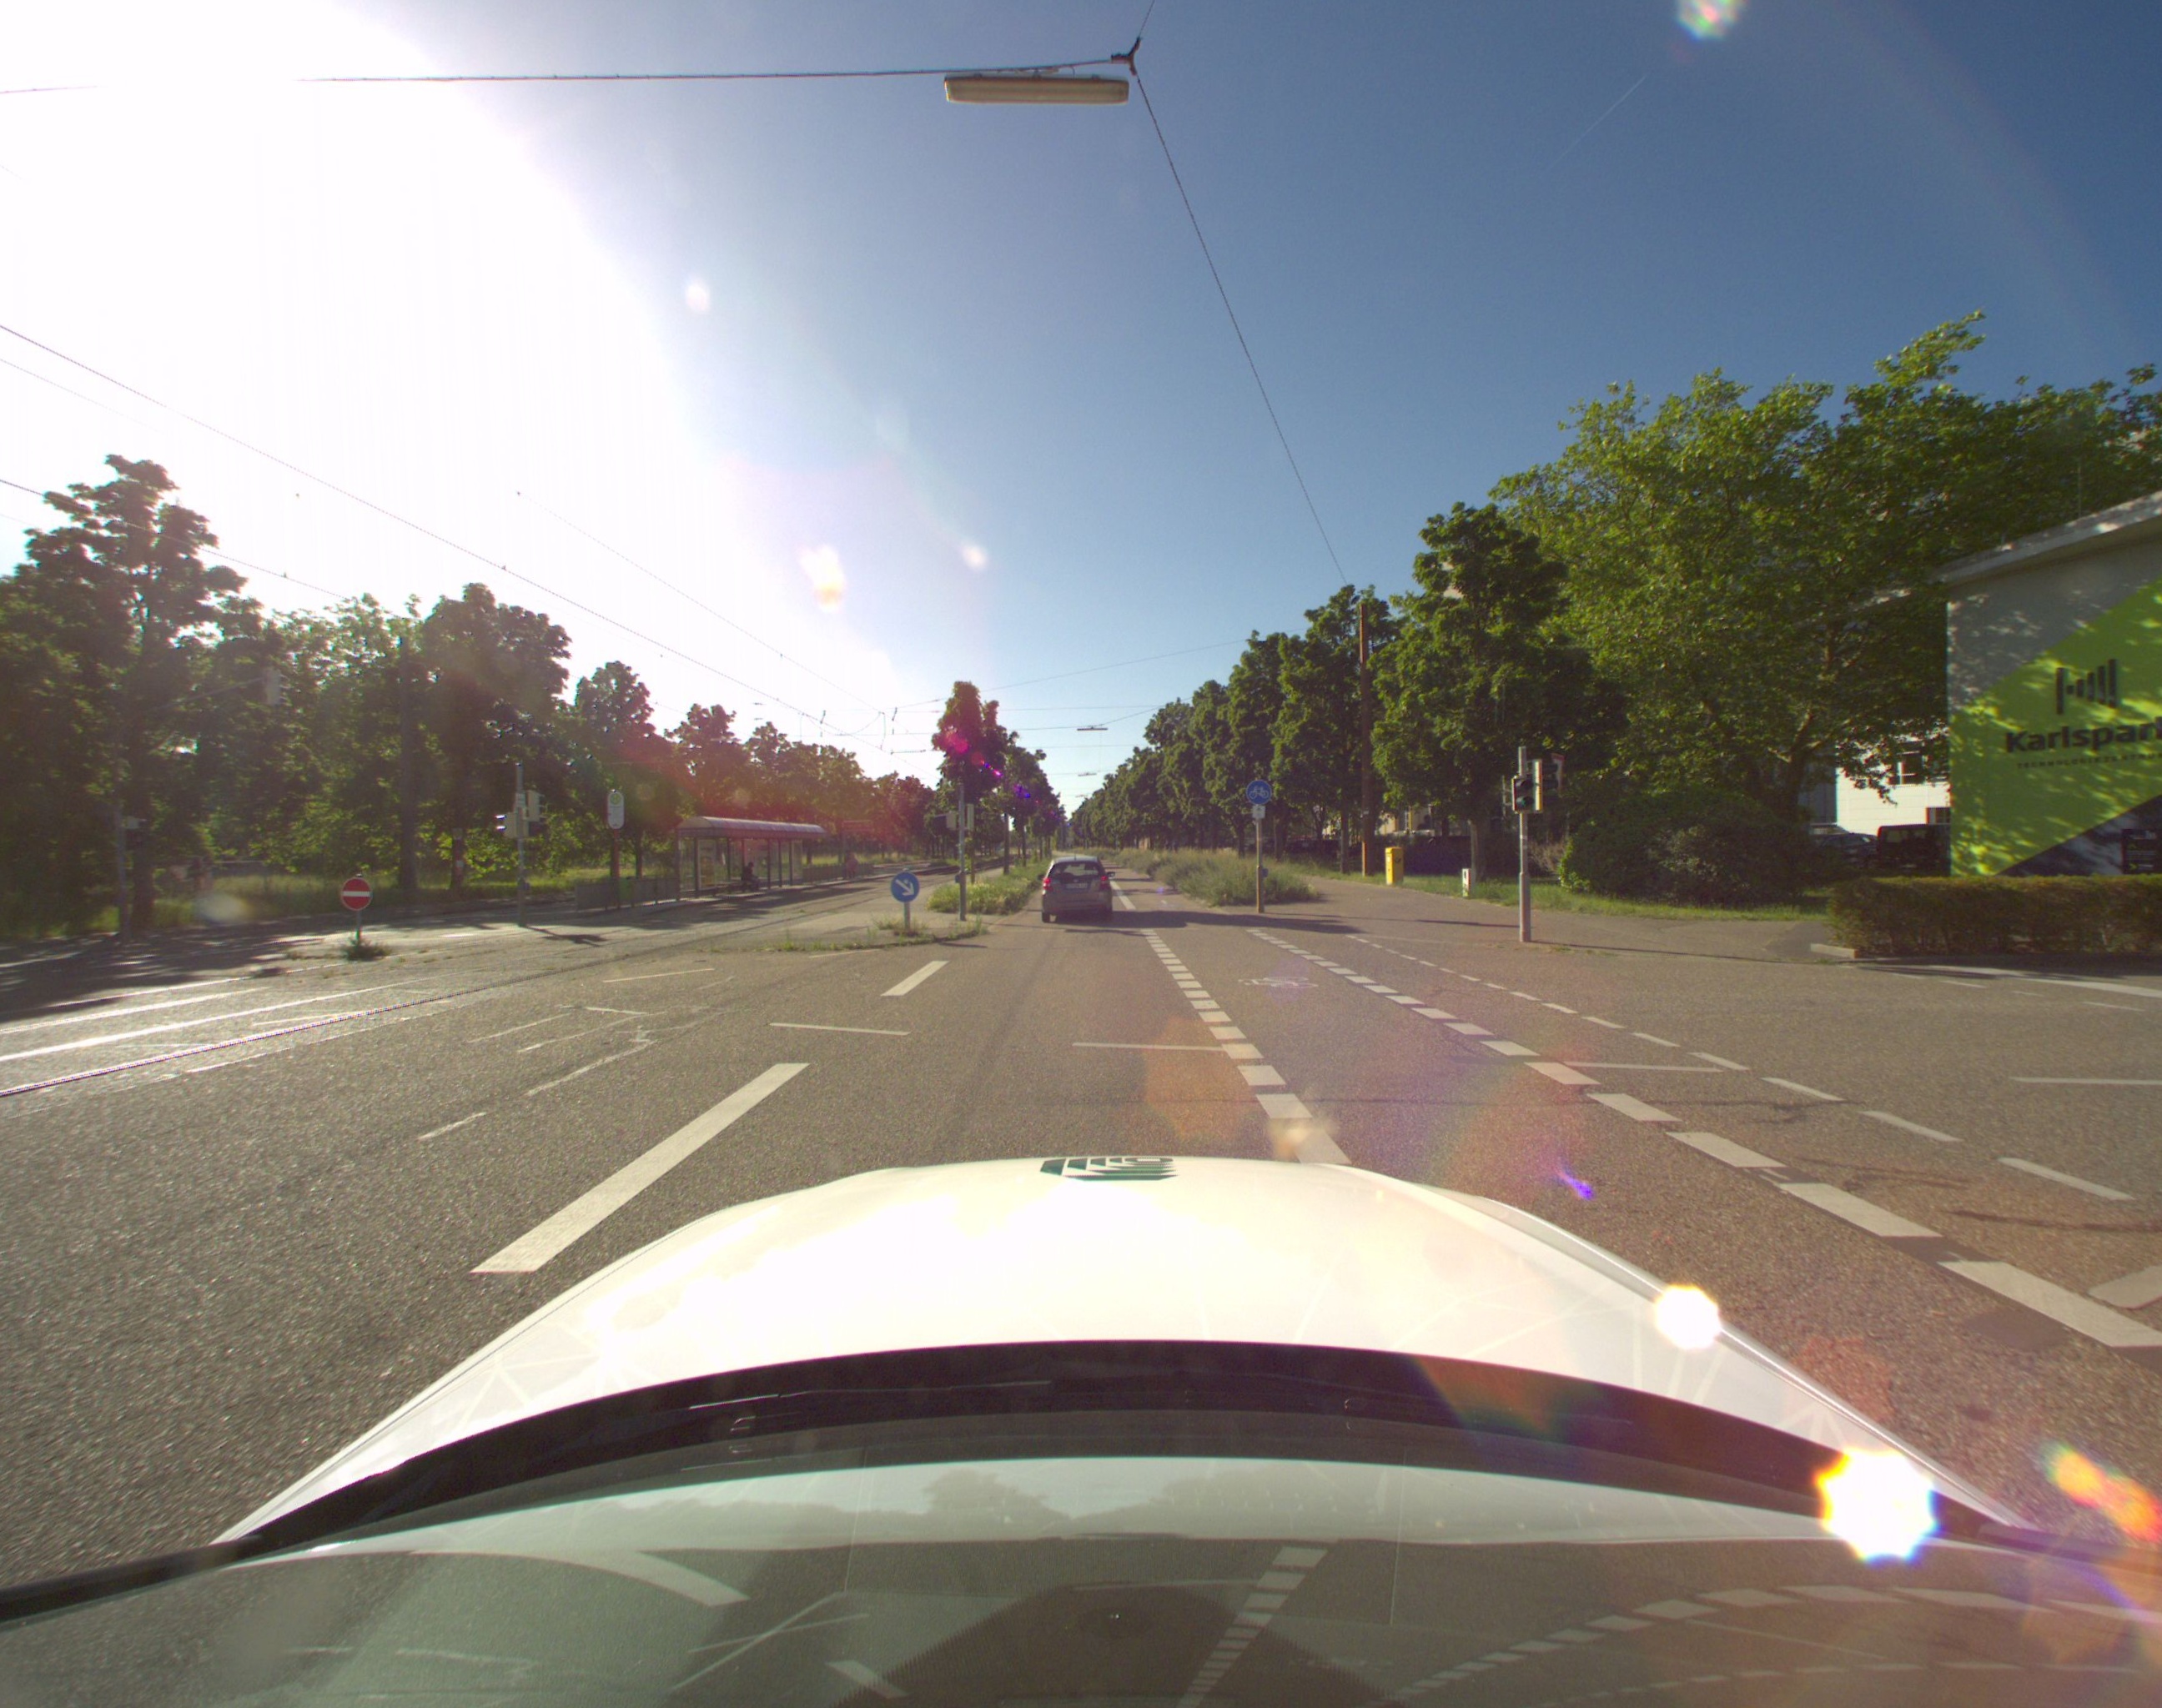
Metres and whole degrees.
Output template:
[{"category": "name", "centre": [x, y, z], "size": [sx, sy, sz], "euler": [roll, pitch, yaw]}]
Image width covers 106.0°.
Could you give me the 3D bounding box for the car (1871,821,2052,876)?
[{"category": "car", "centre": [29.962, -0.198, 27.749], "size": [4.888, 1.757, 2.082], "euler": [-1, 0, -14]}]

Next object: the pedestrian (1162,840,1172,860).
[{"category": "pedestrian", "centre": [8.466, -0.400, 80.238], "size": [0.880, 1.884, 0.875], "euler": [-1, 0, -2]}]

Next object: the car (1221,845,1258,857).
[{"category": "car", "centre": [21.795, -0.446, 112.183], "size": [4.623, 1.555, 1.997], "euler": [-1, 0, -5]}]

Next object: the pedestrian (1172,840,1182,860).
[{"category": "pedestrian", "centre": [9.470, -0.400, 80.301], "size": [0.880, 1.884, 0.875], "euler": [-1, 0, -2]}]

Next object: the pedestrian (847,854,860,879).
[{"category": "pedestrian", "centre": [-13.502, 0.748, 48.372], "size": [0.542, 1.447, 0.559], "euler": [-2, -1, 1]}]

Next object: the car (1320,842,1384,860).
[{"category": "car", "centre": [22.693, -0.244, 68.324], "size": [4.625, 1.327, 2.105], "euler": [-1, 0, 36]}]

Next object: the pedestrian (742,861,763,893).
[{"category": "pedestrian", "centre": [-13.628, 0.947, 33.800], "size": [0.562, 1.257, 0.581], "euler": [-3, -1, 0]}]

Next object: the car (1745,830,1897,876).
[{"category": "car", "centre": [29.064, -0.036, 32.065], "size": [4.448, 1.686, 1.892], "euler": [-1, 0, -5]}]

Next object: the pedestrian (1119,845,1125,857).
[{"category": "pedestrian", "centre": [5.918, -0.463, 118.255], "size": [0.723, 1.690, 0.820], "euler": [-1, -1, -1]}]

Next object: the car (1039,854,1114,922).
[{"category": "car", "centre": [-0.052, 0.795, 20.230], "size": [1.695, 1.524, 3.710], "euler": [0, -1, 1]}]
